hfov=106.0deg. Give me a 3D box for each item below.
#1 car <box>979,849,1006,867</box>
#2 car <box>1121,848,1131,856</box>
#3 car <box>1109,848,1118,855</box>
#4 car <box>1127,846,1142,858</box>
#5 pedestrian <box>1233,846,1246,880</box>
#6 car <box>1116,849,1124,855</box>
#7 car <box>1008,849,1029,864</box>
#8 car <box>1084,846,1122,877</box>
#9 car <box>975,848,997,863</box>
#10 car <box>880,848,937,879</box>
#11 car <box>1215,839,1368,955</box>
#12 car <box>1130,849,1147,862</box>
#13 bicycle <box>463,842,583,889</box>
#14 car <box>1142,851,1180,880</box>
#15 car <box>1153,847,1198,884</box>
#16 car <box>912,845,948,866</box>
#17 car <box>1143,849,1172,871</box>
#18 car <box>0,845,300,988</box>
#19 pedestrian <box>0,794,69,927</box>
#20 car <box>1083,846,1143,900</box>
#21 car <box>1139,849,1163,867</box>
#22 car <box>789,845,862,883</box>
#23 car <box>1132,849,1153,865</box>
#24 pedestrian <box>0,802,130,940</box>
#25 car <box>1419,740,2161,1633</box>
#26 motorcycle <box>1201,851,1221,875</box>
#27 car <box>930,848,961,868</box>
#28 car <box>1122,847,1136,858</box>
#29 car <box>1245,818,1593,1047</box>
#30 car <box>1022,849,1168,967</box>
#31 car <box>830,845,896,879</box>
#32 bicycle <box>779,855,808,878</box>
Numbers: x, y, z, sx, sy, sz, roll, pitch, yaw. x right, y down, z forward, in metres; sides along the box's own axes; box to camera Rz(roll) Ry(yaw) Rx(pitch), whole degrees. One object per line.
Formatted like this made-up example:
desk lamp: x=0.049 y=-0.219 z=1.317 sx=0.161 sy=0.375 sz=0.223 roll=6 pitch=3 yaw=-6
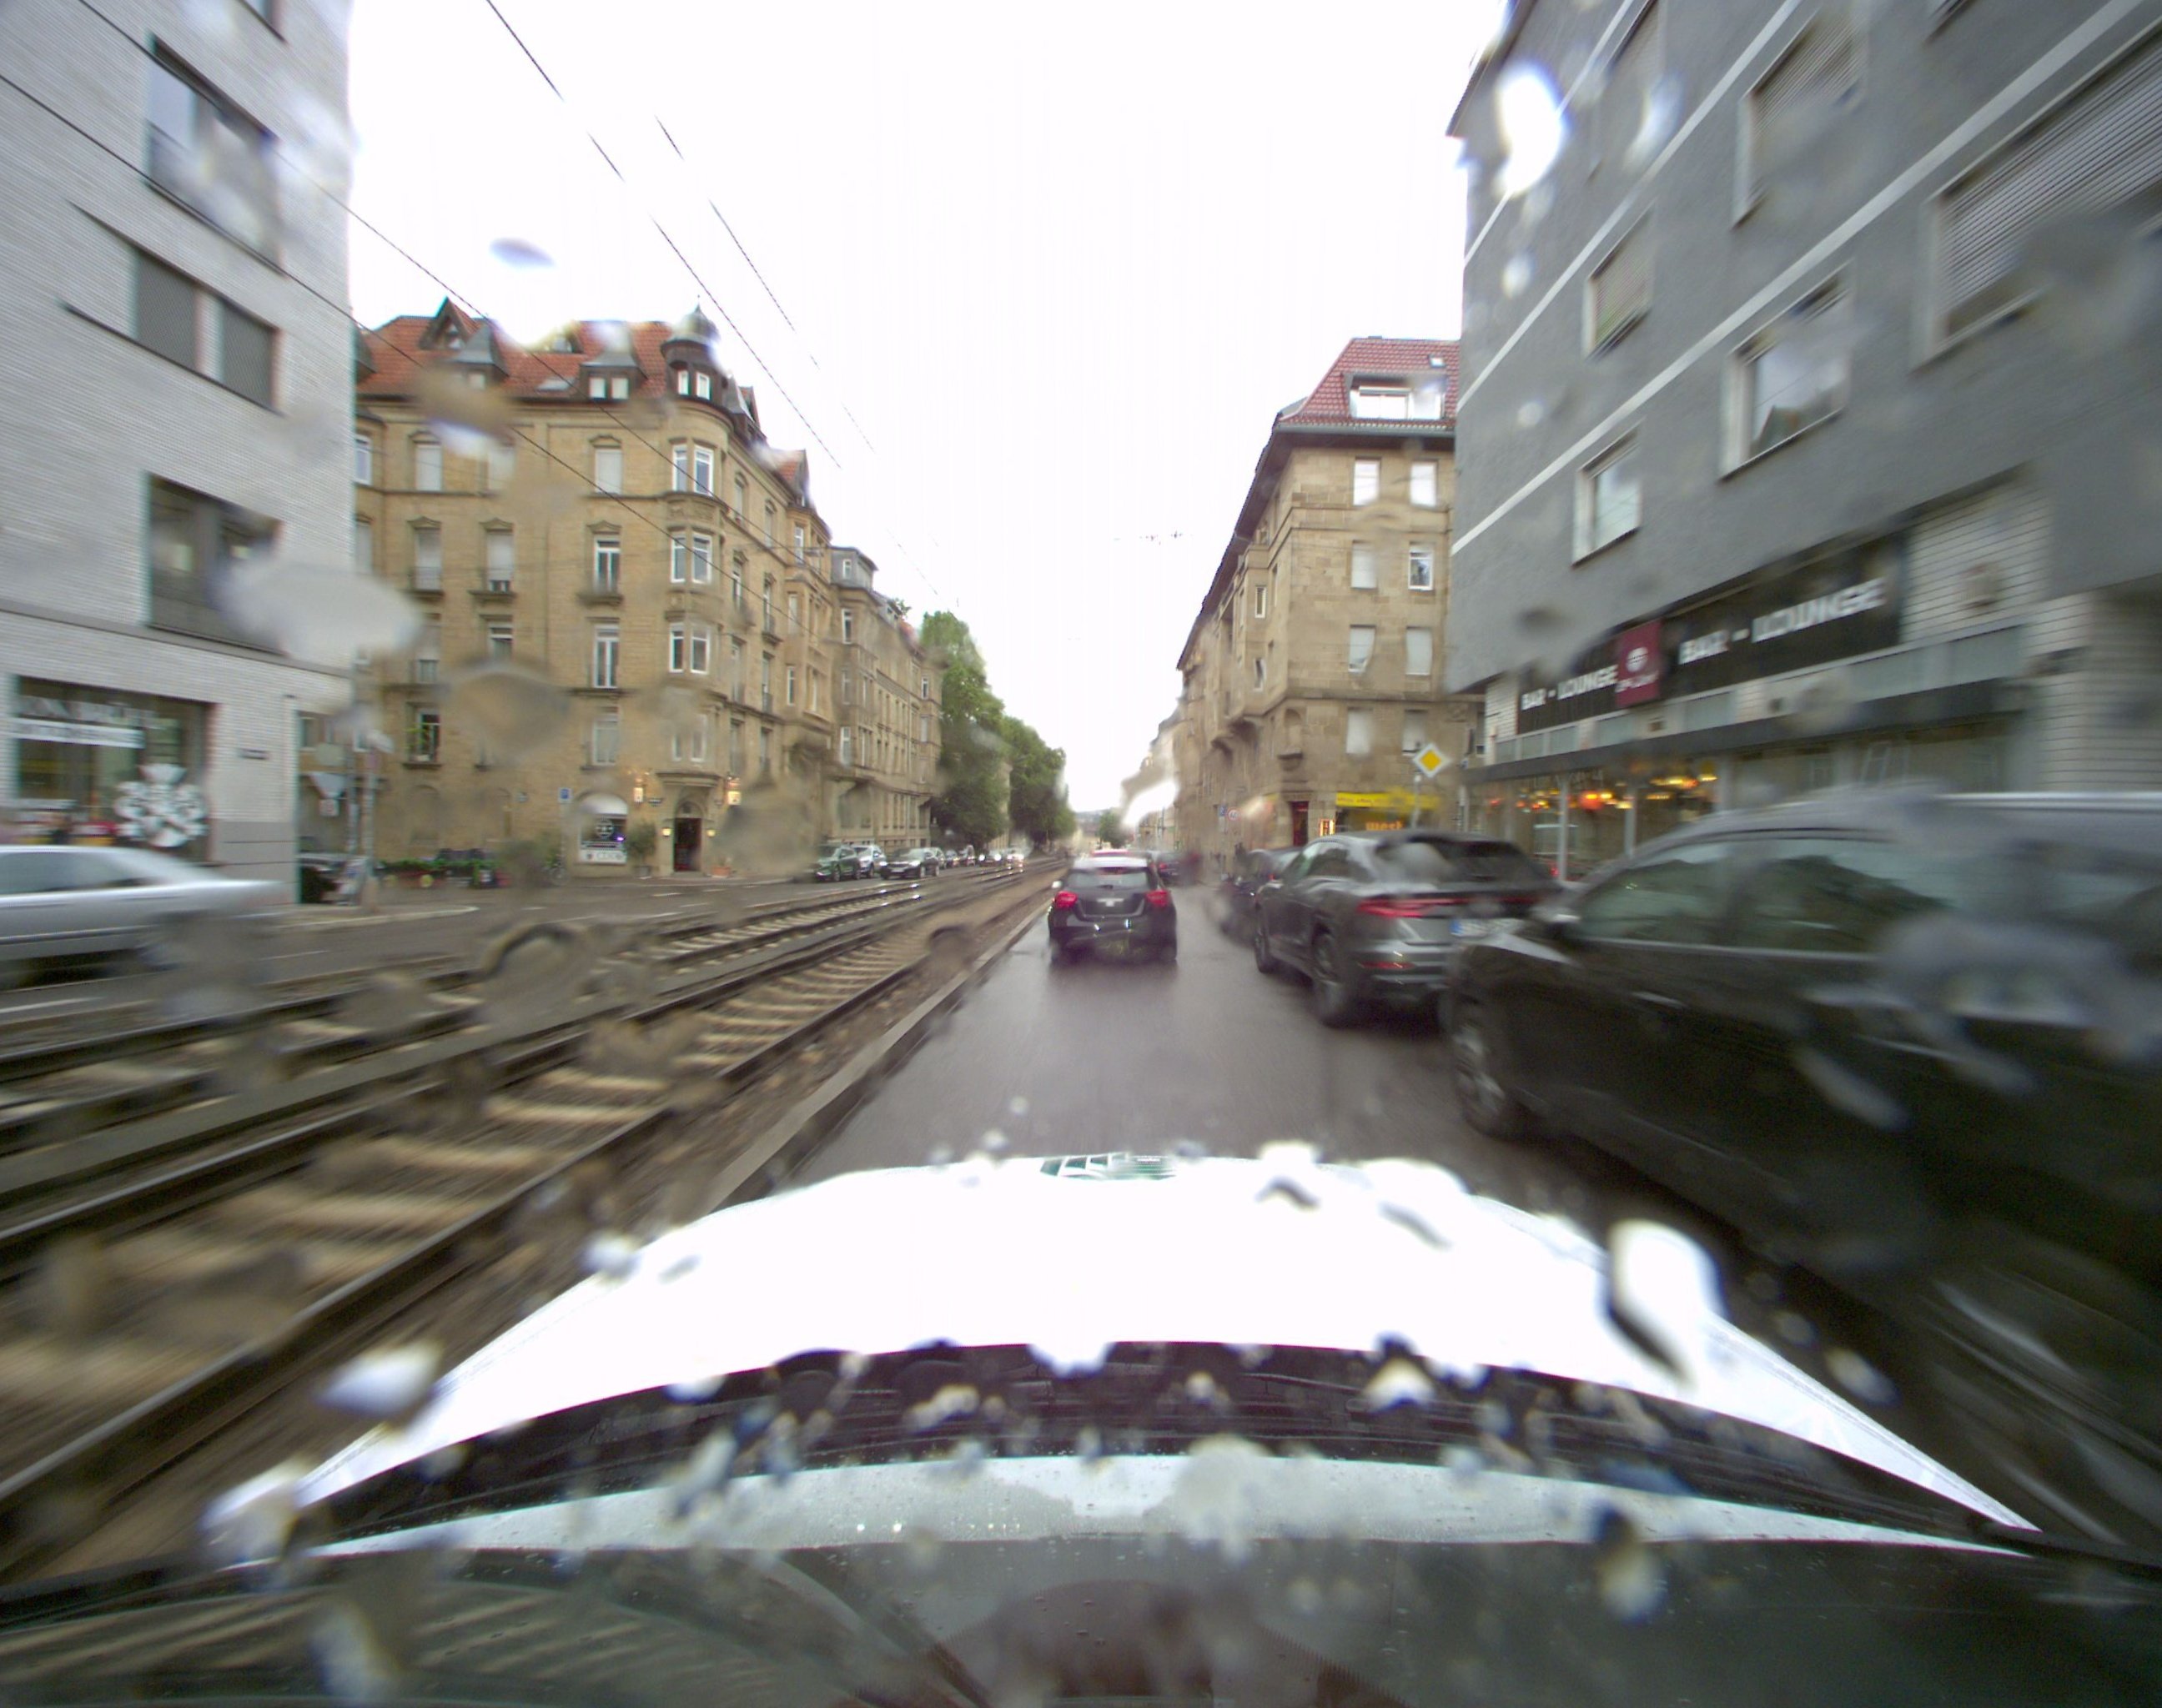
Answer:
car: x=-7.058 y=0.310 z=65.229 sx=1.562 sy=1.413 sz=3.485 roll=0 pitch=0 yaw=4
car: x=8.183 y=-0.360 z=148.679 sx=1.607 sy=1.317 sz=4.002 roll=0 pitch=0 yaw=2
car: x=5.890 y=-0.434 z=149.064 sx=1.607 sy=1.317 sz=4.002 roll=0 pitch=0 yaw=2
car: x=5.997 y=-0.226 z=91.617 sx=1.607 sy=1.317 sz=4.002 roll=0 pitch=0 yaw=2
pedestrian: x=6.846 y=0.388 z=35.167 sx=0.453 sy=1.466 sz=0.611 roll=0 pitch=0 yaw=1
car: x=8.309 y=-0.494 z=172.237 sx=1.607 sy=1.317 sz=4.002 roll=0 pitch=0 yaw=2
car: x=-6.248 y=0.239 z=81.425 sx=1.562 sy=1.413 sz=3.485 roll=0 pitch=0 yaw=4
car: x=1.027 y=0.309 z=37.175 sx=1.607 sy=1.317 sz=4.002 roll=0 pitch=0 yaw=2
car: x=-9.301 y=0.164 z=80.028 sx=1.562 sy=1.413 sz=3.485 roll=0 pitch=0 yaw=4
car: x=-8.025 y=0.404 z=38.128 sx=1.688 sy=1.388 sz=3.485 roll=0 pitch=0 yaw=4
car: x=3.266 y=0.583 z=13.359 sx=1.607 sy=1.605 sz=4.002 roll=0 pitch=0 yaw=2
car: x=5.943 y=0.152 z=84.385 sx=1.607 sy=1.317 sz=4.002 roll=0 pitch=0 yaw=2
bicycle: x=-19.968 y=0.390 z=29.246 sx=3.144 sy=1.584 sz=1.594 roll=-1 pitch=0 yaw=-8
car: x=3.941 y=0.542 z=40.522 sx=1.607 sy=1.317 sz=4.002 roll=0 pitch=0 yaw=2
car: x=4.032 y=0.467 z=35.342 sx=1.615 sy=1.484 sz=4.002 roll=0 pitch=0 yaw=2
car: x=-10.341 y=0.078 z=55.967 sx=1.562 sy=1.413 sz=3.485 roll=0 pitch=0 yaw=4
car: x=4.922 y=0.372 z=52.640 sx=1.607 sy=1.317 sz=4.002 roll=0 pitch=0 yaw=2
car: x=-11.123 y=0.598 z=8.133 sx=1.798 sy=1.360 sz=4.769 roll=0 pitch=0 yaw=5
pedestrian: x=-14.756 y=0.097 z=11.138 sx=0.638 sy=1.787 sz=0.924 roll=-1 pitch=-1 yaw=1
car: x=0.943 y=0.511 z=24.683 sx=1.643 sy=1.452 sz=4.002 roll=-1 pitch=1 yaw=1
car: x=5.279 y=0.259 z=62.101 sx=1.607 sy=1.317 sz=4.002 roll=0 pitch=0 yaw=2
car: x=-11.052 y=0.412 z=35.471 sx=1.715 sy=1.541 sz=3.938 roll=0 pitch=0 yaw=4
car: x=5.173 y=0.230 z=69.052 sx=1.607 sy=1.317 sz=4.002 roll=0 pitch=0 yaw=2
pedestrian: x=-13.788 y=0.232 z=11.082 sx=0.627 sy=1.787 sz=0.882 roll=-1 pitch=-1 yaw=1
car: x=2.881 y=0.607 z=2.929 sx=1.677 sy=1.670 sz=4.123 roll=0 pitch=0 yaw=1
motorcycle: x=7.573 y=0.509 z=47.552 sx=0.876 sy=1.315 sz=2.397 roll=0 pitch=0 yaw=2
car: x=-10.176 y=0.272 z=61.419 sx=1.562 sy=1.413 sz=3.485 roll=0 pitch=0 yaw=4
car: x=6.049 y=-0.171 z=102.839 sx=1.607 sy=1.317 sz=4.002 roll=0 pitch=0 yaw=2
car: x=2.947 y=0.561 z=8.317 sx=1.743 sy=1.670 sz=4.706 roll=0 pitch=0 yaw=2
car: x=0.308 y=0.695 z=12.598 sx=1.858 sy=1.452 sz=4.004 roll=-2 pitch=0 yaw=4
car: x=-10.845 y=0.342 z=40.770 sx=1.798 sy=1.597 sz=4.530 roll=0 pitch=0 yaw=4
bicycle: x=-12.915 y=0.540 z=36.623 sx=0.597 sy=1.000 sz=2.078 roll=0 pitch=0 yaw=-2
